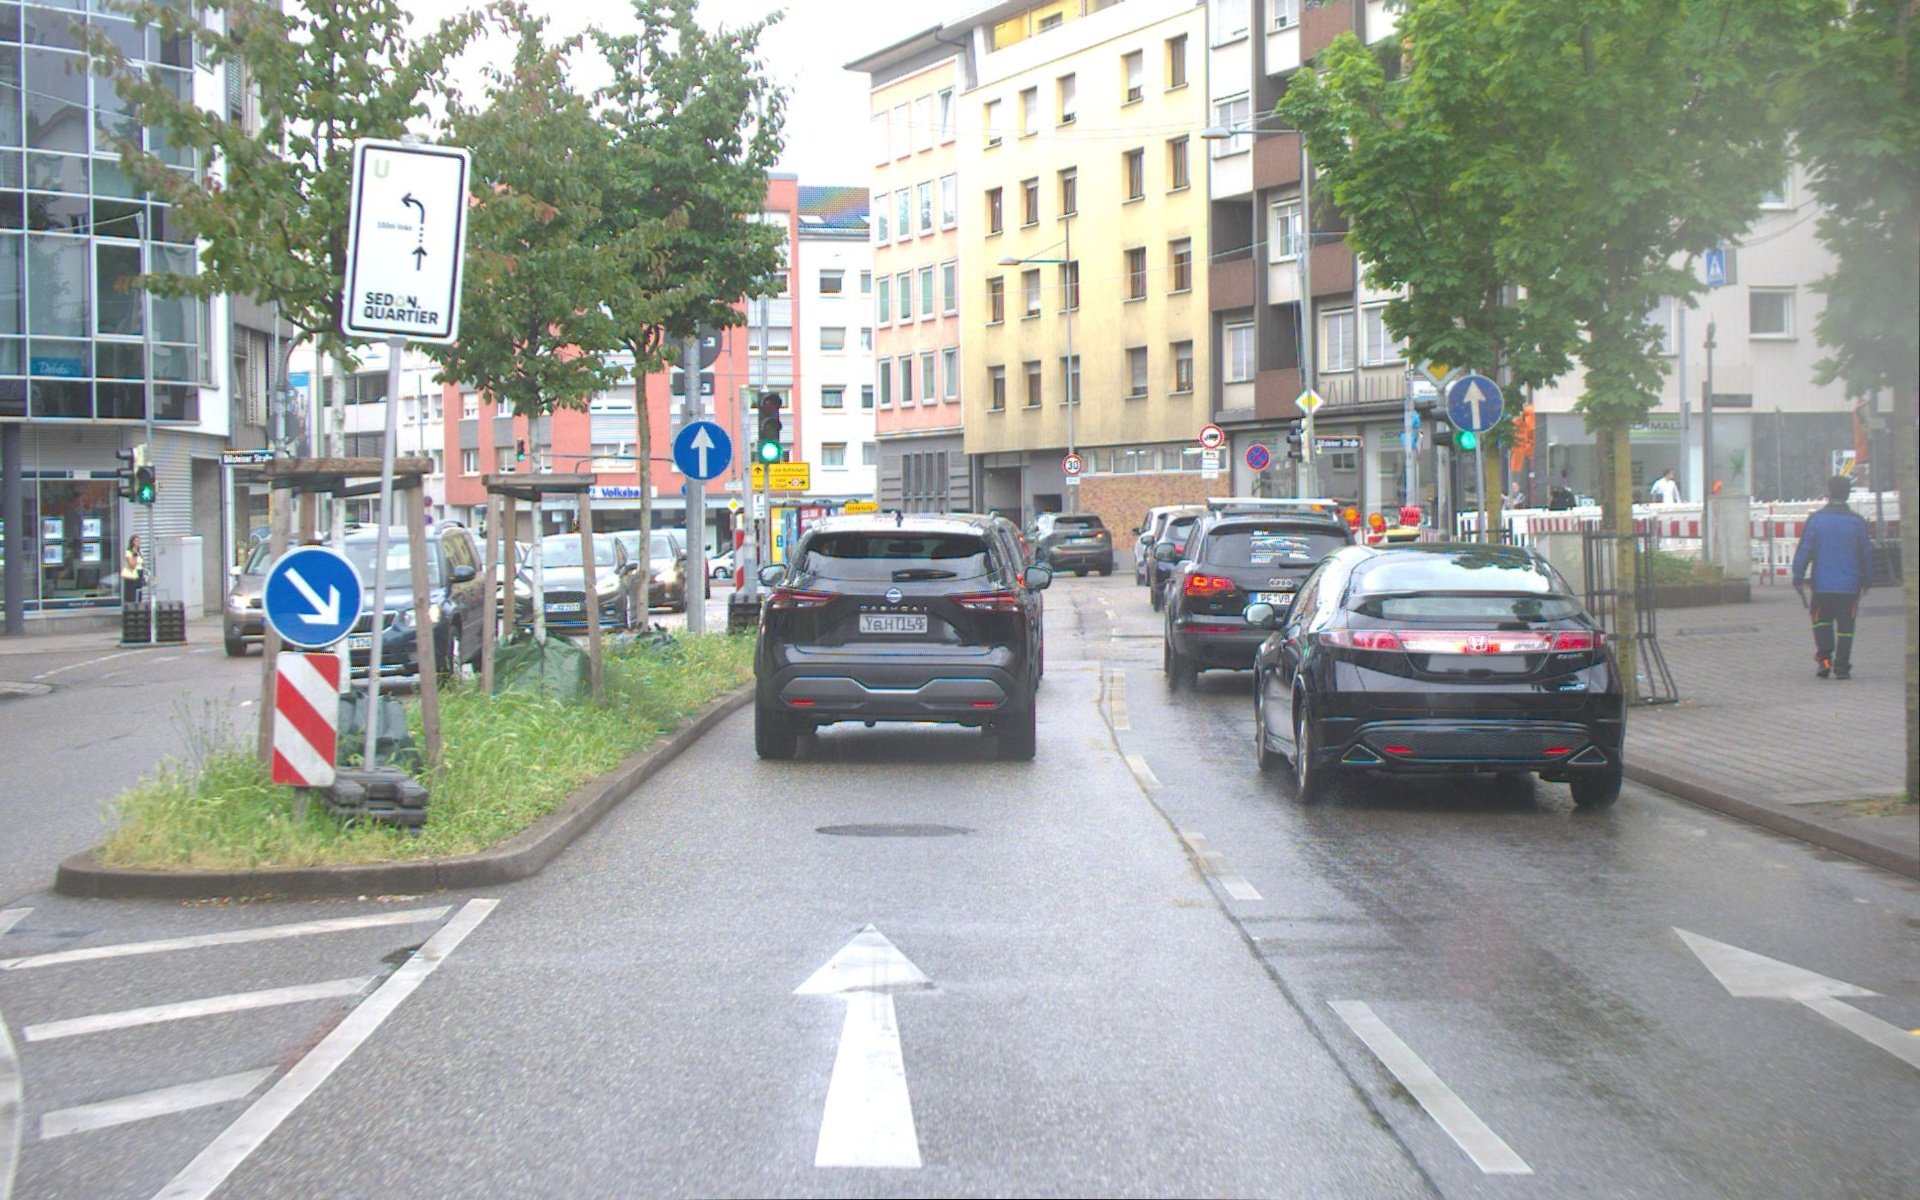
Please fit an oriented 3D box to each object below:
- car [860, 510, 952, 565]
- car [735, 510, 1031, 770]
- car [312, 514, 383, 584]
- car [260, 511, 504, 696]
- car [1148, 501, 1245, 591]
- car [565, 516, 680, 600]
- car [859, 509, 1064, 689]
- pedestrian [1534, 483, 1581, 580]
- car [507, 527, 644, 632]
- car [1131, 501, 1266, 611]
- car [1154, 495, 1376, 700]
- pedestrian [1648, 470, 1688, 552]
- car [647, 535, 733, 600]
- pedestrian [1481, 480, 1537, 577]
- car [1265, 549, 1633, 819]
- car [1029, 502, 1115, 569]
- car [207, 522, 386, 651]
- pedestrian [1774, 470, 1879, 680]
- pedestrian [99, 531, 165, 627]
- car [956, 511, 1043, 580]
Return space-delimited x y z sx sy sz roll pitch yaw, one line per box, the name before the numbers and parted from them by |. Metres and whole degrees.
car | -1.409 -1.592 88.397 1.640 1.340 3.349 -2 1 -13
car | -0.482 0.214 23.346 1.823 1.595 3.719 1 1 0
car | -14.208 -1.173 79.789 1.549 1.565 3.349 1 0 -10
car | -5.694 -0.004 34.293 1.683 1.655 4.096 -3 1 0
car | 4.649 -1.087 68.041 1.830 1.678 3.718 1 2 3
car | -5.899 -0.746 60.405 1.670 1.365 3.753 -2 1 -1
car | 0.009 -0.044 32.856 1.823 1.595 3.719 1 1 0
pedestrian | 12.531 -1.435 72.145 0.821 2.006 0.840 1 2 3
car | -5.608 -0.326 50.463 1.532 1.408 3.937 -3 1 -1
car | 3.590 -0.700 52.257 1.830 1.557 3.719 1 2 1
car | 2.854 -0.077 32.885 1.830 1.799 3.719 1 2 1
pedestrian | 15.393 -1.930 74.718 0.528 1.763 0.623 0 2 -31
car | -5.870 -0.727 74.983 1.641 1.317 3.348 -2 1 -1
pedestrian | 11.569 -1.514 72.462 0.821 2.006 0.840 1 2 -19
car | 2.735 0.412 19.944 1.786 1.395 3.718 0 1 3
car | 2.809 -1.649 86.679 1.708 1.605 3.729 1 2 -5
car | -8.888 -0.213 46.349 1.632 1.586 3.937 -3 1 -1
pedestrian | 7.421 -0.220 29.471 0.792 1.749 0.871 -2 1 13
pedestrian | -14.030 -0.350 58.258 0.781 1.585 0.763 -3 1 -37
car | 0.808 -1.156 72.664 1.641 1.376 3.349 -2 1 -2
